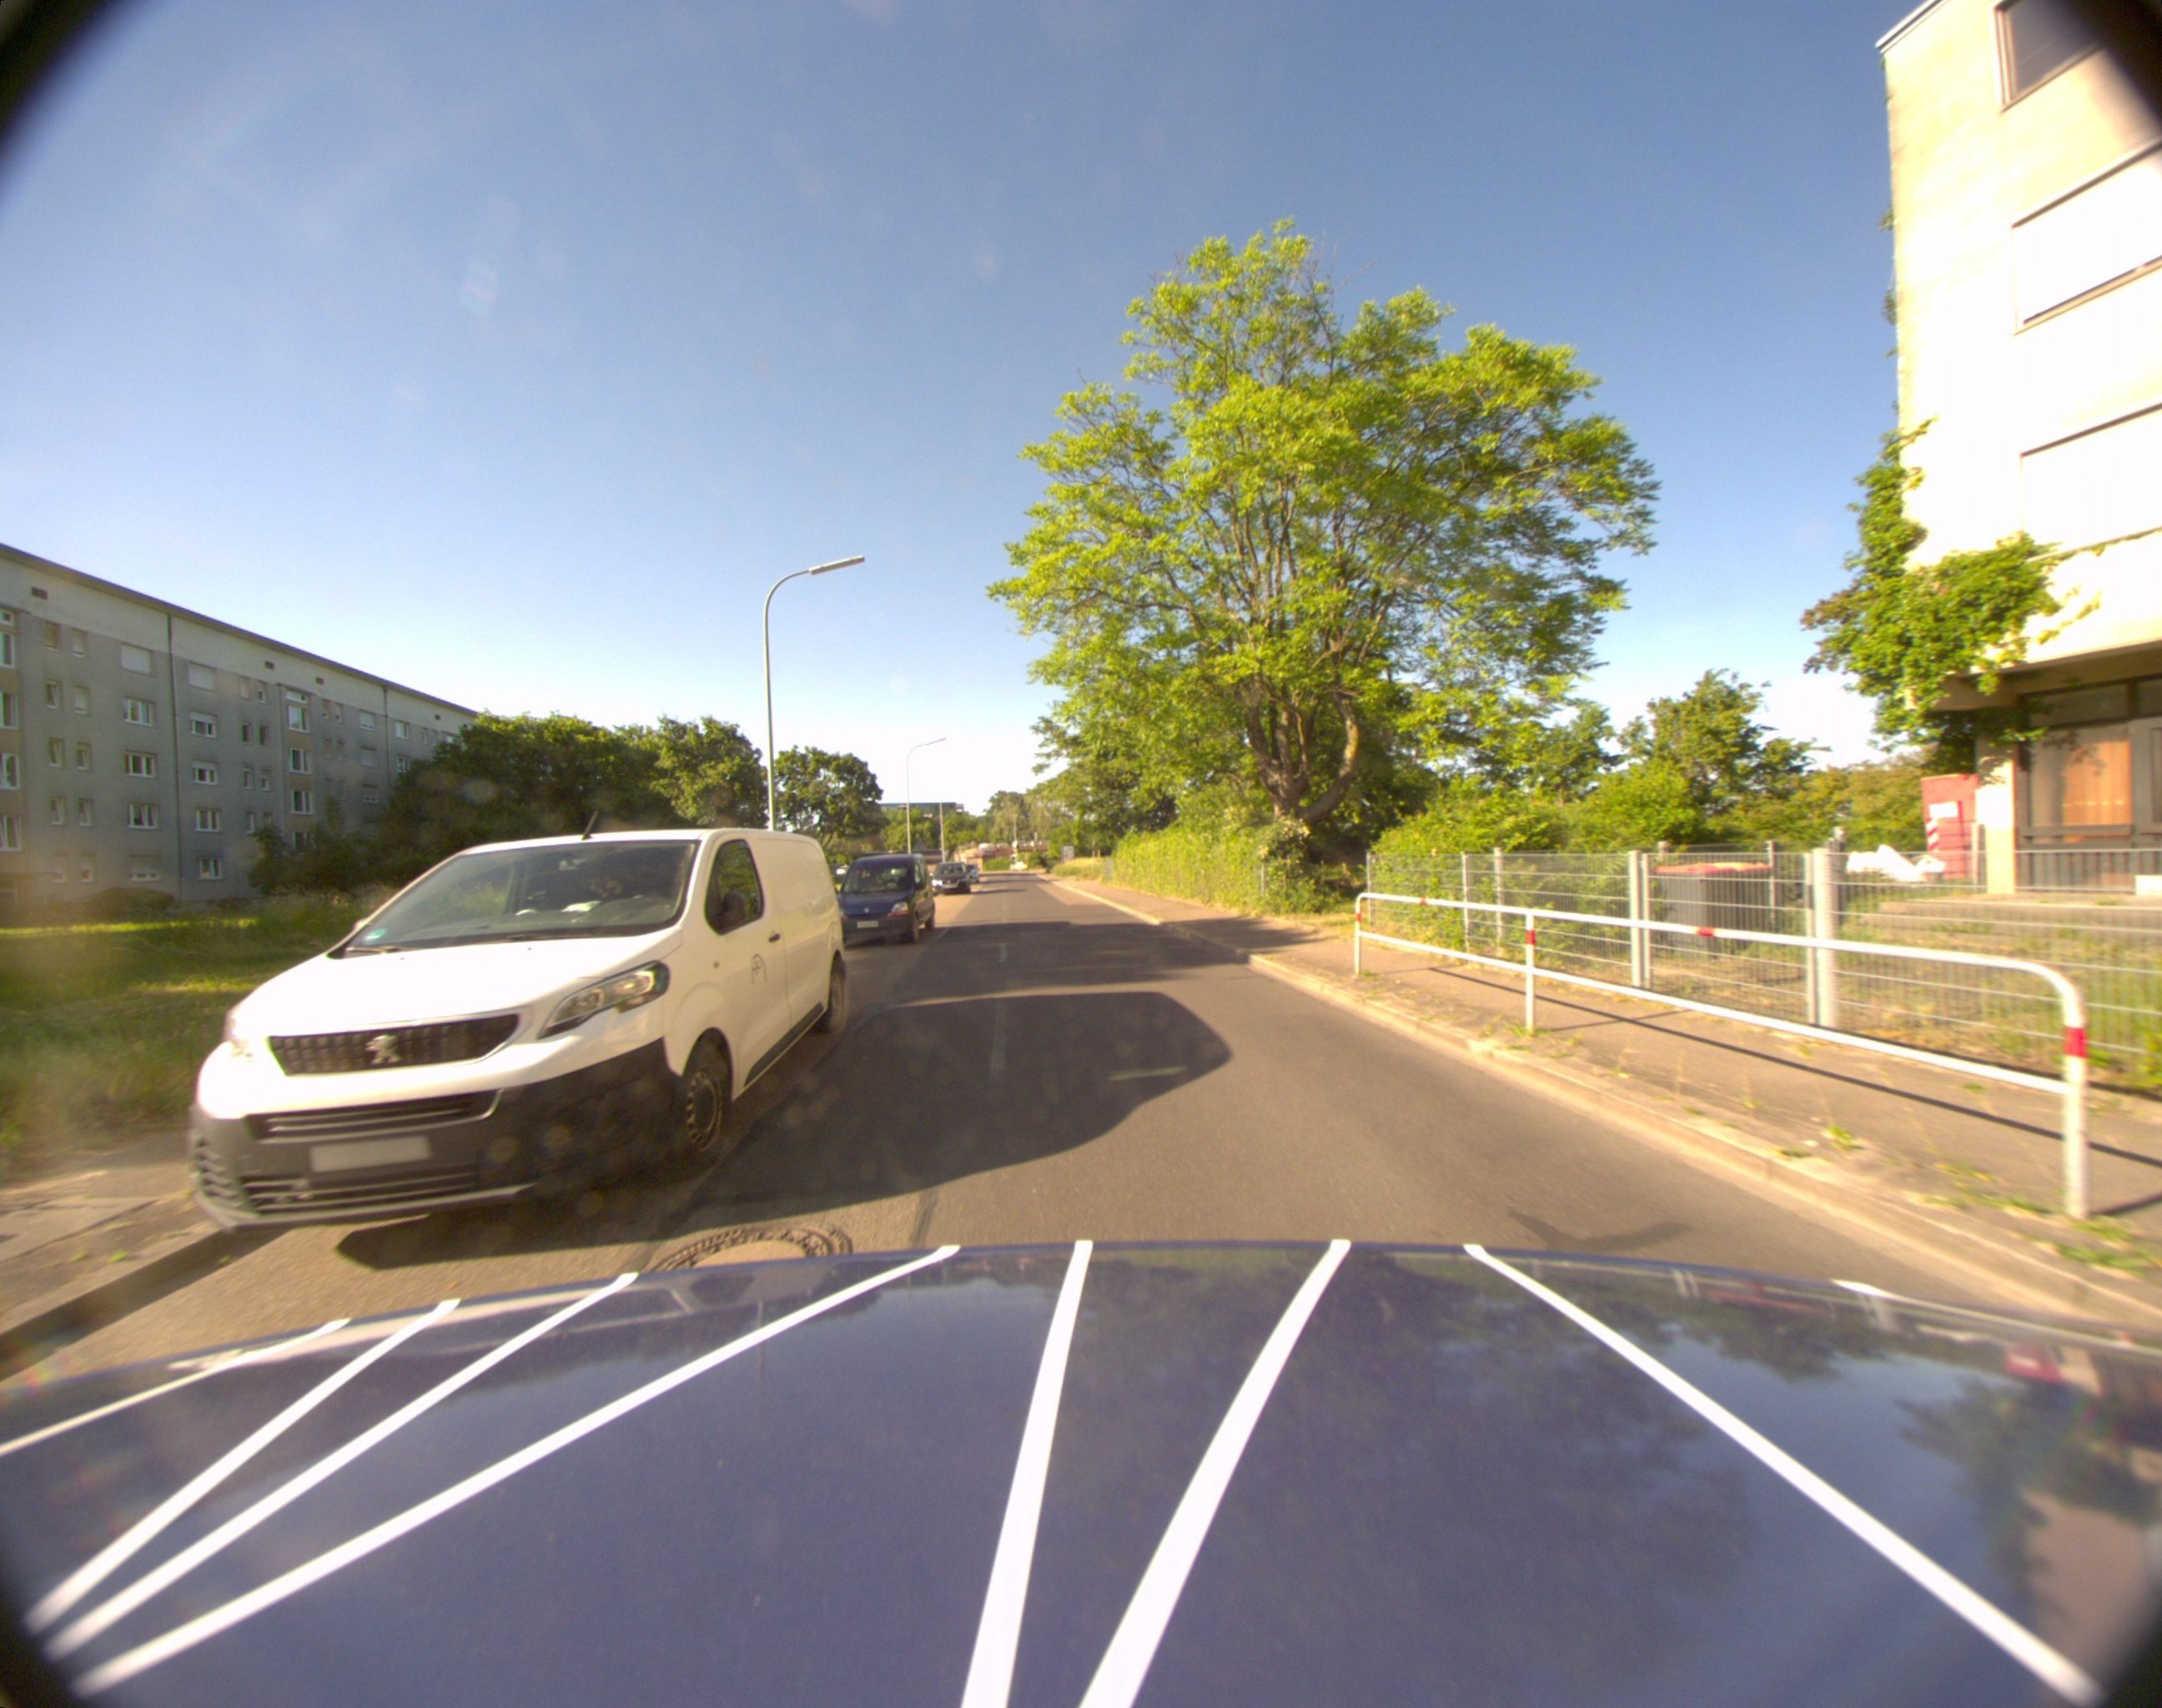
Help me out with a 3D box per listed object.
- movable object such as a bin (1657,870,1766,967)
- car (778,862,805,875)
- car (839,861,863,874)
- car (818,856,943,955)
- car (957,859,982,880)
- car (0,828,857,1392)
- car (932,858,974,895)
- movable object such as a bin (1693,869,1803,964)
[{"bbox_3d":[7.152,0.706,8.644,0.623,1.018,0.710,-1,1,-10],"label":"movable object such as a bin"},{"bbox_3d":[-43.372,2.126,113.865,1.954,1.763,4.001,-1,2,8],"label":"car"},{"bbox_3d":[-33.716,1.921,111.384,1.859,1.763,4.002,-1,0,8],"label":"car"},{"bbox_3d":[-4.031,0.941,15.915,1.702,1.720,4.082,-3,0,-4],"label":"car"},{"bbox_3d":[-8.478,1.162,57.917,1.657,1.471,3.914,-4,0,-6],"label":"car"},{"bbox_3d":[-3.032,0.885,5.138,1.921,1.861,4.862,-3,0,-6],"label":"car"},{"bbox_3d":[-6.312,1.071,37.754,1.845,1.642,4.465,-3,0,-8],"label":"car"},{"bbox_3d":[7.661,0.695,8.749,0.623,1.018,0.710,-1,1,-10],"label":"movable object such as a bin"}]
